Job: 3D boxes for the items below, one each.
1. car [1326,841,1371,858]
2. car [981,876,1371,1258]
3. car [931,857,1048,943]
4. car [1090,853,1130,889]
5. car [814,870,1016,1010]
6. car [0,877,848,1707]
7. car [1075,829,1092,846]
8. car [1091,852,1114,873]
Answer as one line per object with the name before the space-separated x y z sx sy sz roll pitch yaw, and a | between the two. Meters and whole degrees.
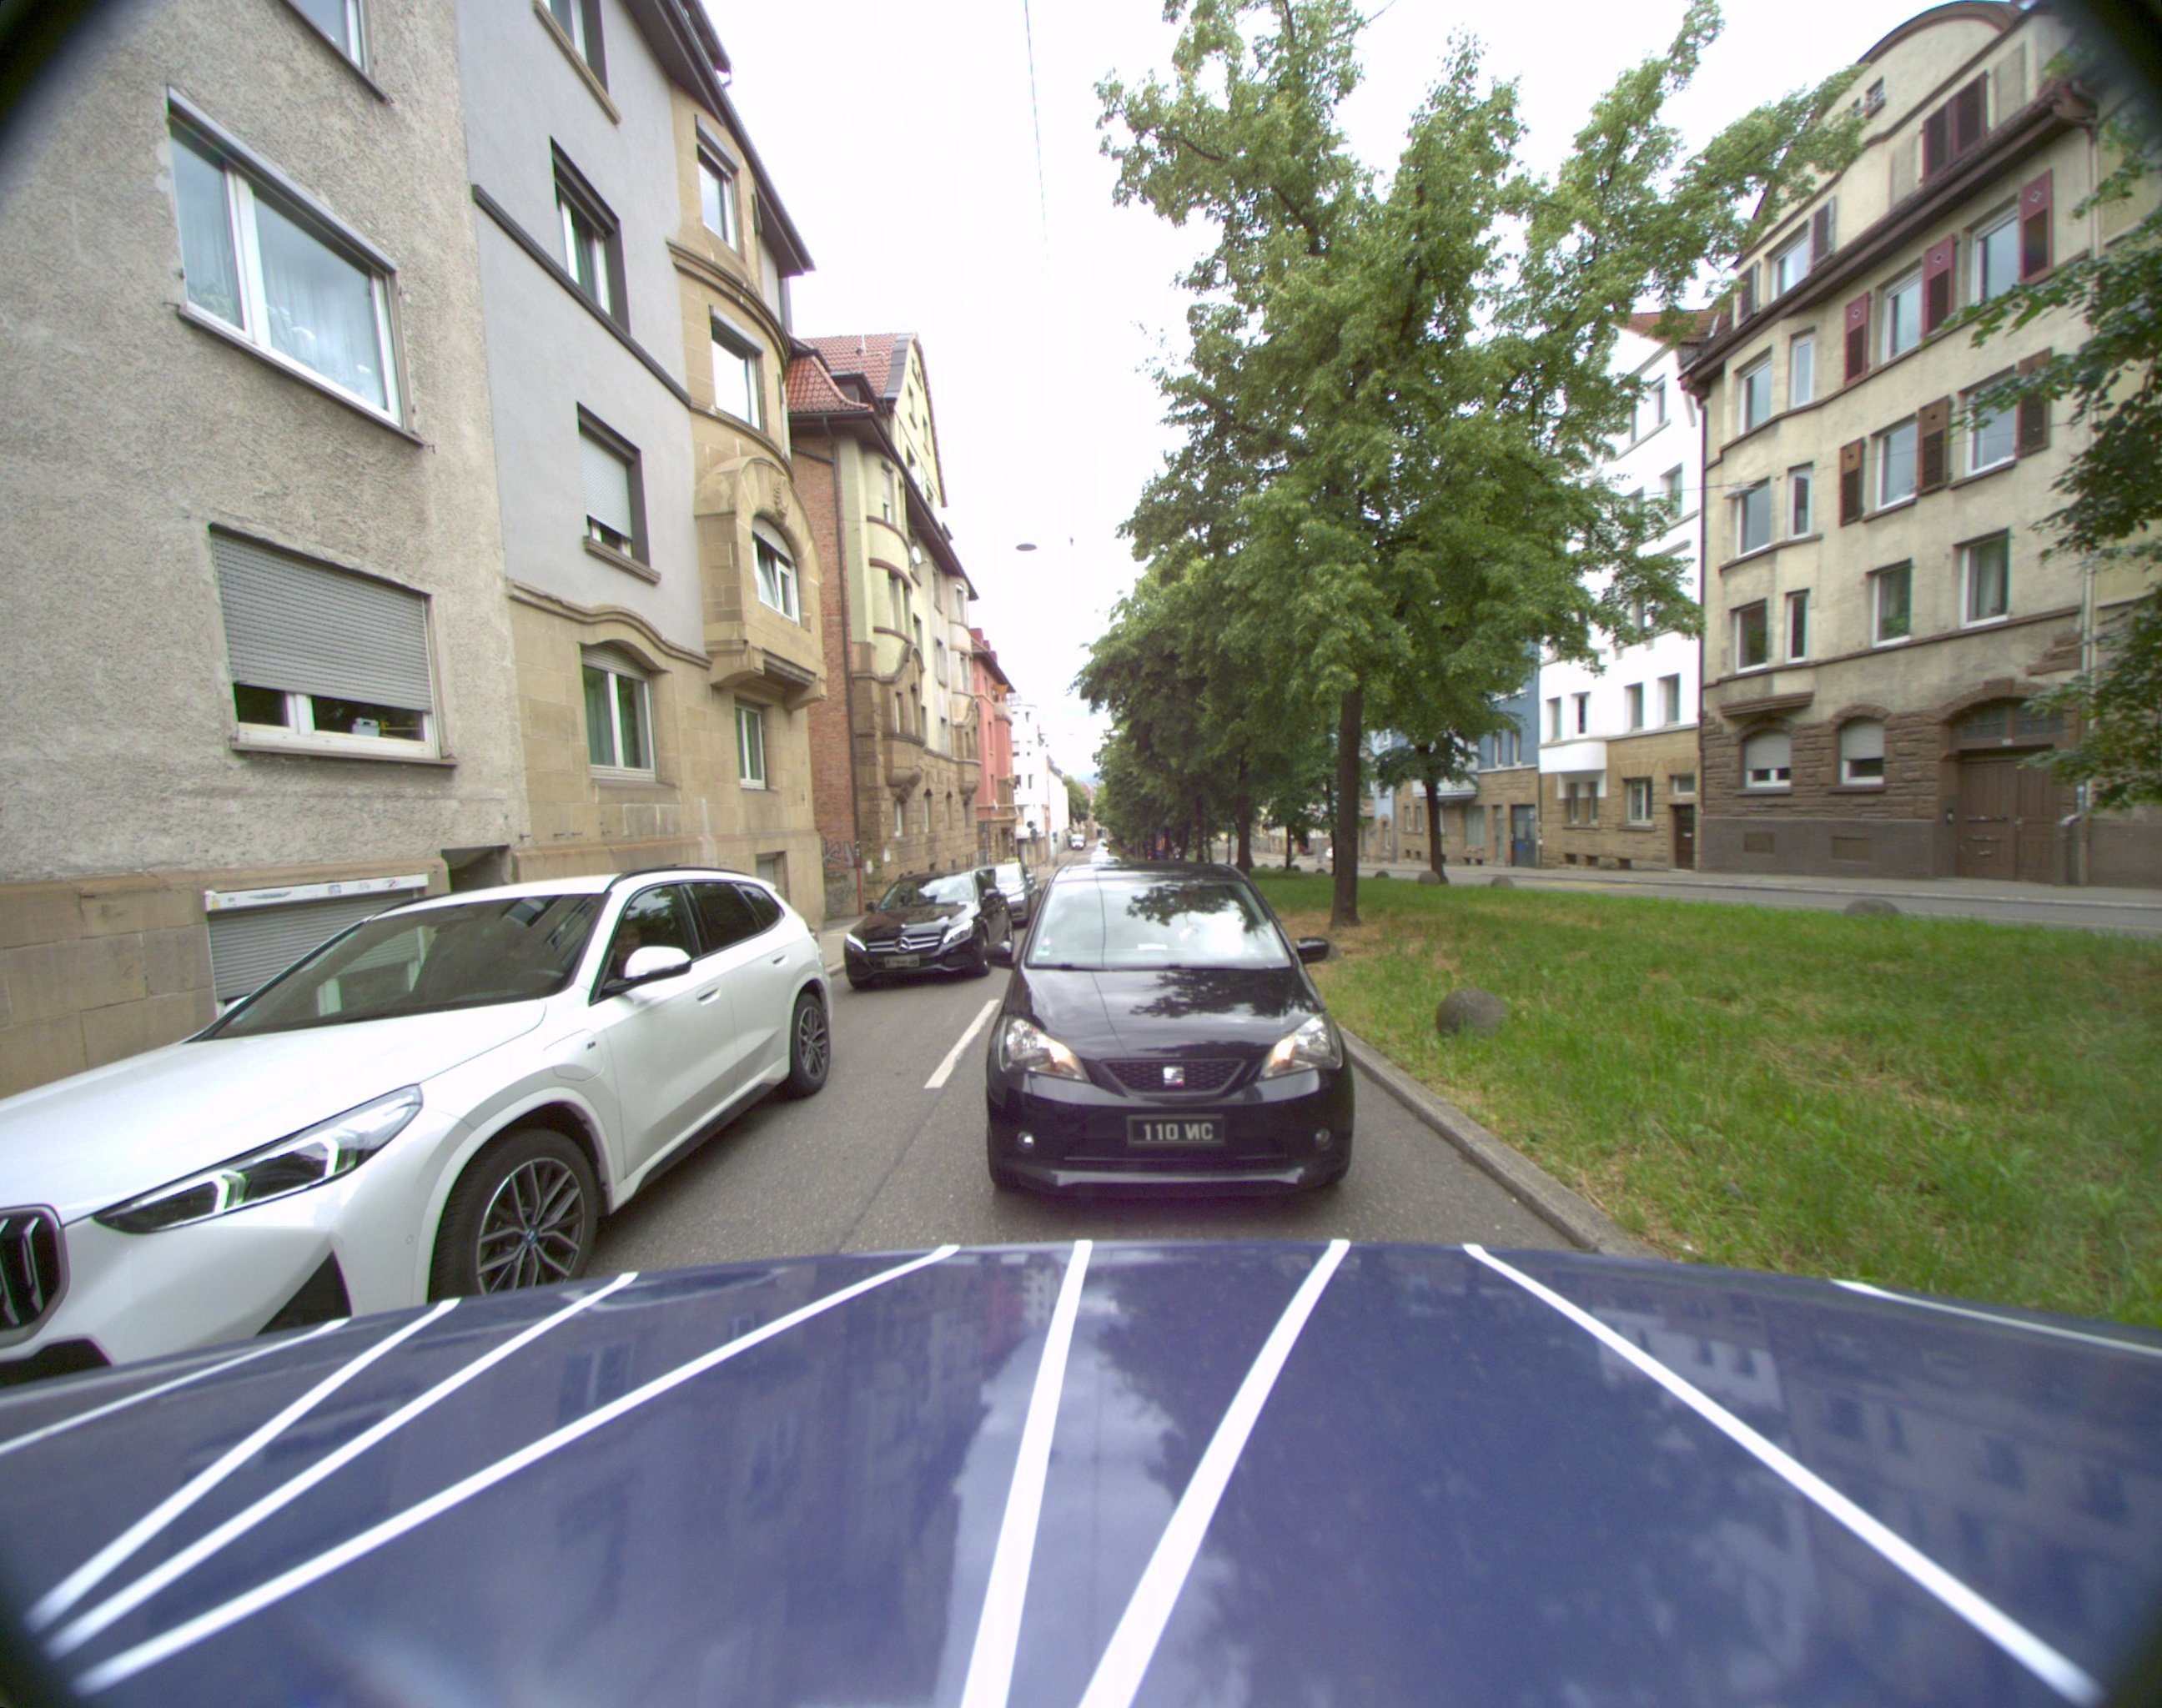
car | 22.182 -0.394 63.101 3.291 1.323 1.672 -2 1 10
car | 0.415 0.938 4.805 1.611 1.457 3.296 0 1 1
car | -1.991 0.968 17.896 1.936 1.506 4.303 -6 1 2
car | 1.260 0.730 34.477 1.664 1.456 3.580 -2 1 1
car | -2.168 1.078 11.226 1.884 1.369 4.205 -6 1 1
car | -2.832 1.076 3.734 1.859 1.547 4.350 -6 1 0
car | 0.332 -3.042 138.226 2.717 2.879 6.451 -2 1 -2
car | 1.636 0.615 58.568 1.607 1.492 3.737 -2 1 1
